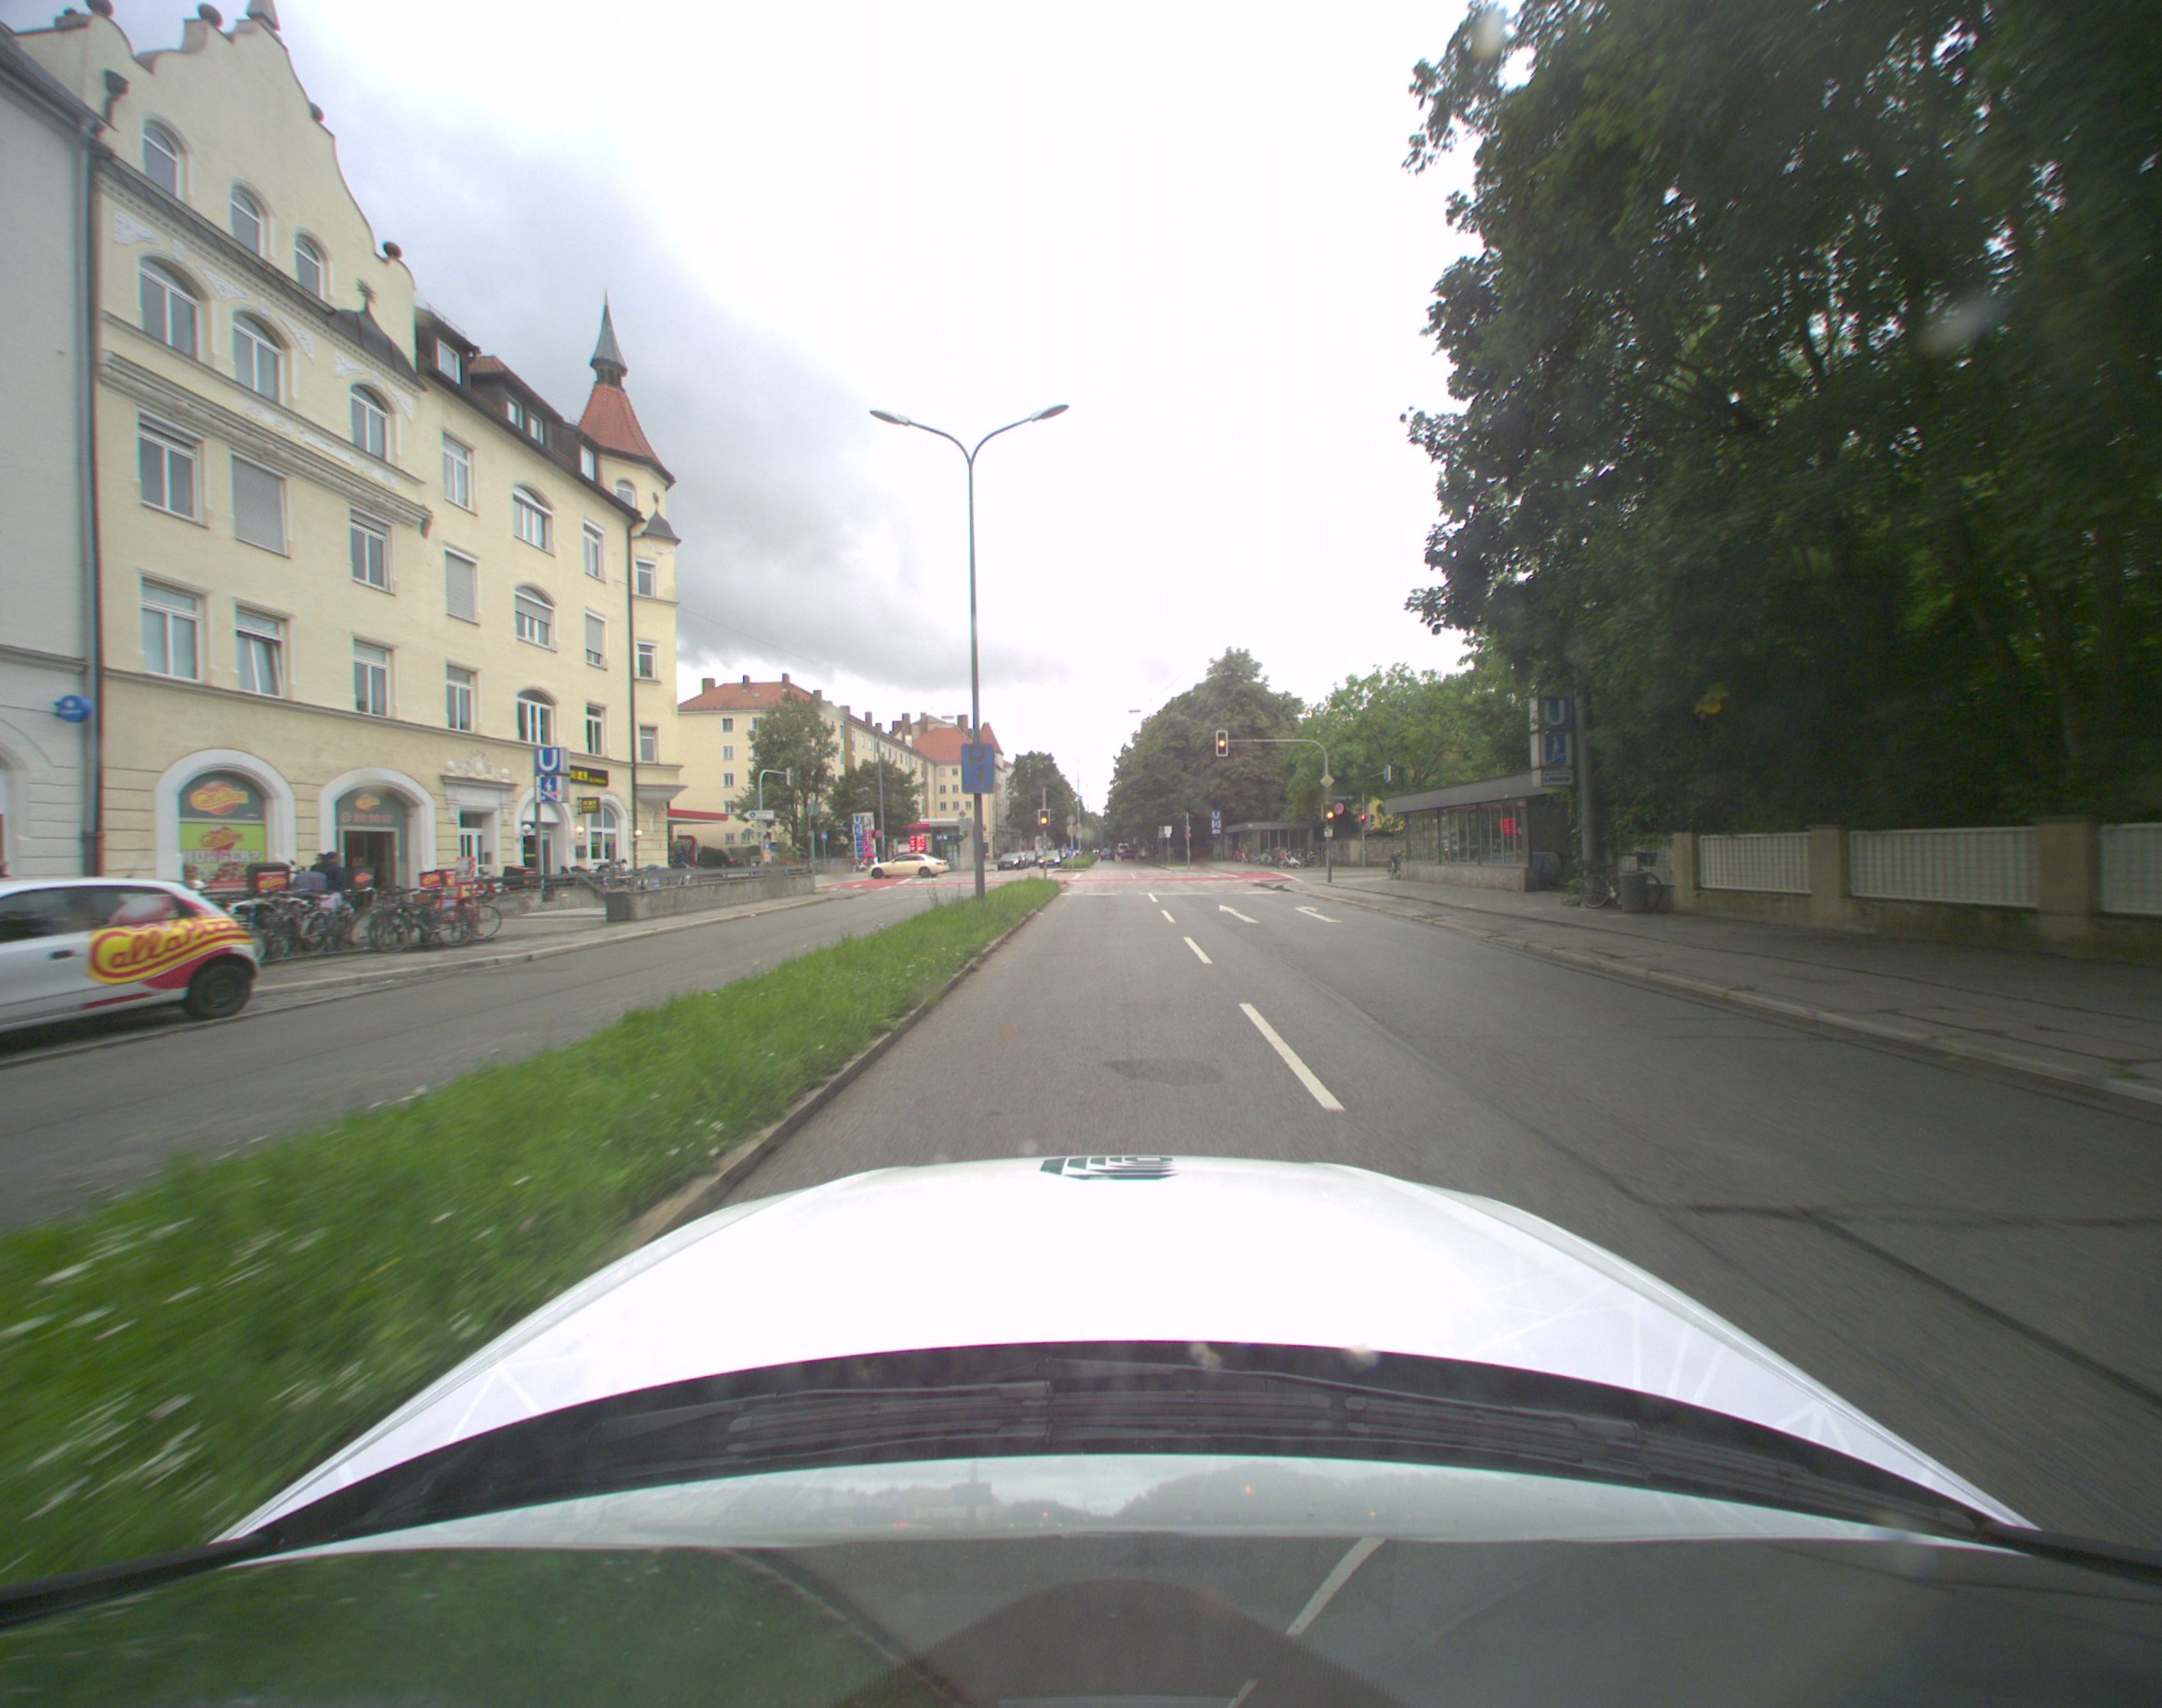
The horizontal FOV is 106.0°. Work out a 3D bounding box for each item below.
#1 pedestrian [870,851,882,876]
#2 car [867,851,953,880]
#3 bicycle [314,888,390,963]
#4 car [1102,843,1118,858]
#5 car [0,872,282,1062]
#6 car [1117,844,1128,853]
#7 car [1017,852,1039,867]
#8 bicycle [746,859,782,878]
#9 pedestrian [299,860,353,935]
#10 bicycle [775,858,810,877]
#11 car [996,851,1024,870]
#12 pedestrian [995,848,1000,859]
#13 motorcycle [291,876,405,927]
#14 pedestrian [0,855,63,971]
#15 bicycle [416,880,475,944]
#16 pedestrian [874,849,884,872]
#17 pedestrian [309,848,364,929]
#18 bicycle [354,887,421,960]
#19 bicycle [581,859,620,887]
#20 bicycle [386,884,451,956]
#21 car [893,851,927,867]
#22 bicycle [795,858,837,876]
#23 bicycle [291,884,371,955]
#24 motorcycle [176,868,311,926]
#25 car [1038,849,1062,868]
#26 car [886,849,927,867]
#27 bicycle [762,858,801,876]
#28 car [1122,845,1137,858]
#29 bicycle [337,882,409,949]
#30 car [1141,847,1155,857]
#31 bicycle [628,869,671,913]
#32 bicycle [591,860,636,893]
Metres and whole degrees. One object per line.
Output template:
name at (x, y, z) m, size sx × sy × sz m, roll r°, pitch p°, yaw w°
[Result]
pedestrian at (-13.758, 0.635, 54.723) m, size 0.531 × 1.695 × 0.579 m, roll -1°, pitch 0°, yaw 10°
car at (-10.315, 0.688, 49.356) m, size 4.741 × 1.647 × 1.788 m, roll -1°, pitch 0°, yaw 6°
bicycle at (-12.213, 1.164, 13.684) m, size 0.367 × 1.115 × 1.669 m, roll -1°, pitch 0°, yaw -21°
car at (3.424, -0.430, 95.978) m, size 1.850 × 1.684 × 4.002 m, roll -1°, pitch 0°, yaw 2°
car at (-10.265, 1.039, 7.623) m, size 1.642 × 1.585 × 3.794 m, roll -1°, pitch 0°, yaw 4°
car at (8.252, -1.089, 160.979) m, size 1.986 × 1.756 × 4.001 m, roll -1°, pitch 0°, yaw 1°
car at (-5.305, 0.517, 81.589) m, size 1.753 × 1.460 × 4.002 m, roll -1°, pitch 0°, yaw 2°
bicycle at (-21.851, 1.013, 56.189) m, size 2.178 × 1.236 × 0.764 m, roll -1°, pitch 0°, yaw -8°
pedestrian at (-16.875, 0.954, 18.217) m, size 0.419 × 1.631 × 0.784 m, roll -1°, pitch 0°, yaw 5°
bicycle at (-19.917, 0.954, 56.226) m, size 2.180 × 1.236 × 0.763 m, roll -1°, pitch 0°, yaw -10°
car at (-5.748, 0.518, 66.581) m, size 1.753 × 1.460 × 4.002 m, roll -1°, pitch 0°, yaw 2°
pedestrian at (-12.990, -0.075, 127.141) m, size 0.693 × 1.638 × 0.738 m, roll -1°, pitch 0°, yaw 2°
motorcycle at (-17.724, 1.115, 19.729) m, size 0.602 × 1.122 × 1.999 m, roll -1°, pitch 0°, yaw 42°
pedestrian at (-16.280, 0.880, 12.398) m, size 0.541 × 1.697 × 0.770 m, roll -1°, pitch 0°, yaw 0°
bicycle at (-12.542, 1.111, 16.119) m, size 0.397 × 1.115 × 1.801 m, roll -1°, pitch 0°, yaw -21°
pedestrian at (-15.190, 0.492, 61.272) m, size 0.593 × 1.695 × 0.572 m, roll -1°, pitch 0°, yaw -29°
pedestrian at (-16.118, 0.731, 17.653) m, size 0.594 × 1.697 × 0.938 m, roll -1°, pitch 0°, yaw -26°
bicycle at (-11.921, 1.162, 14.045) m, size 0.330 × 1.115 × 1.669 m, roll -1°, pitch 0°, yaw -21°
bicycle at (-17.900, 0.695, 30.376) m, size 0.471 × 0.980 × 1.546 m, roll -1°, pitch 0°, yaw 2°
bicycle at (-11.591, 1.116, 14.284) m, size 0.368 × 1.115 × 1.669 m, roll -1°, pitch 0°, yaw -21°
car at (-22.031, 0.631, 104.980) m, size 3.977 × 2.013 × 1.889 m, roll -1°, pitch 0°, yaw -3°
bicycle at (-18.602, 0.883, 57.272) m, size 2.720 × 1.251 × 0.786 m, roll 0°, pitch 0°, yaw -29°
bicycle at (-13.415, 1.136, 14.613) m, size 0.397 × 1.115 × 1.801 m, roll -1°, pitch 0°, yaw -21°
motorcycle at (-17.975, 0.897, 17.524) m, size 0.602 × 1.130 × 1.999 m, roll -1°, pitch 0°, yaw 42°
car at (-2.653, 0.348, 69.852) m, size 1.753 × 1.493 × 4.002 m, roll -1°, pitch 0°, yaw 2°
car at (-18.735, 0.377, 87.496) m, size 3.975 × 1.837 × 1.880 m, roll -1°, pitch 0°, yaw -1°
bicycle at (-20.899, 0.932, 56.890) m, size 2.393 × 1.251 × 0.789 m, roll 0°, pitch 0°, yaw -9°
car at (6.482, -0.279, 108.622) m, size 1.915 × 1.684 × 4.002 m, roll 0°, pitch 0°, yaw 2°
bicycle at (-13.146, 1.105, 15.164) m, size 0.397 × 1.115 × 1.801 m, roll -1°, pitch 0°, yaw -21°
car at (9.430, -0.339, 114.343) m, size 1.736 × 1.363 × 3.808 m, roll -1°, pitch 0°, yaw 2°
bicycle at (-12.156, 1.022, 22.979) m, size 0.395 × 1.115 × 1.810 m, roll -1°, pitch 0°, yaw -6°
bicycle at (-14.939, 0.704, 26.075) m, size 0.471 × 0.980 × 1.546 m, roll -1°, pitch 0°, yaw 2°
